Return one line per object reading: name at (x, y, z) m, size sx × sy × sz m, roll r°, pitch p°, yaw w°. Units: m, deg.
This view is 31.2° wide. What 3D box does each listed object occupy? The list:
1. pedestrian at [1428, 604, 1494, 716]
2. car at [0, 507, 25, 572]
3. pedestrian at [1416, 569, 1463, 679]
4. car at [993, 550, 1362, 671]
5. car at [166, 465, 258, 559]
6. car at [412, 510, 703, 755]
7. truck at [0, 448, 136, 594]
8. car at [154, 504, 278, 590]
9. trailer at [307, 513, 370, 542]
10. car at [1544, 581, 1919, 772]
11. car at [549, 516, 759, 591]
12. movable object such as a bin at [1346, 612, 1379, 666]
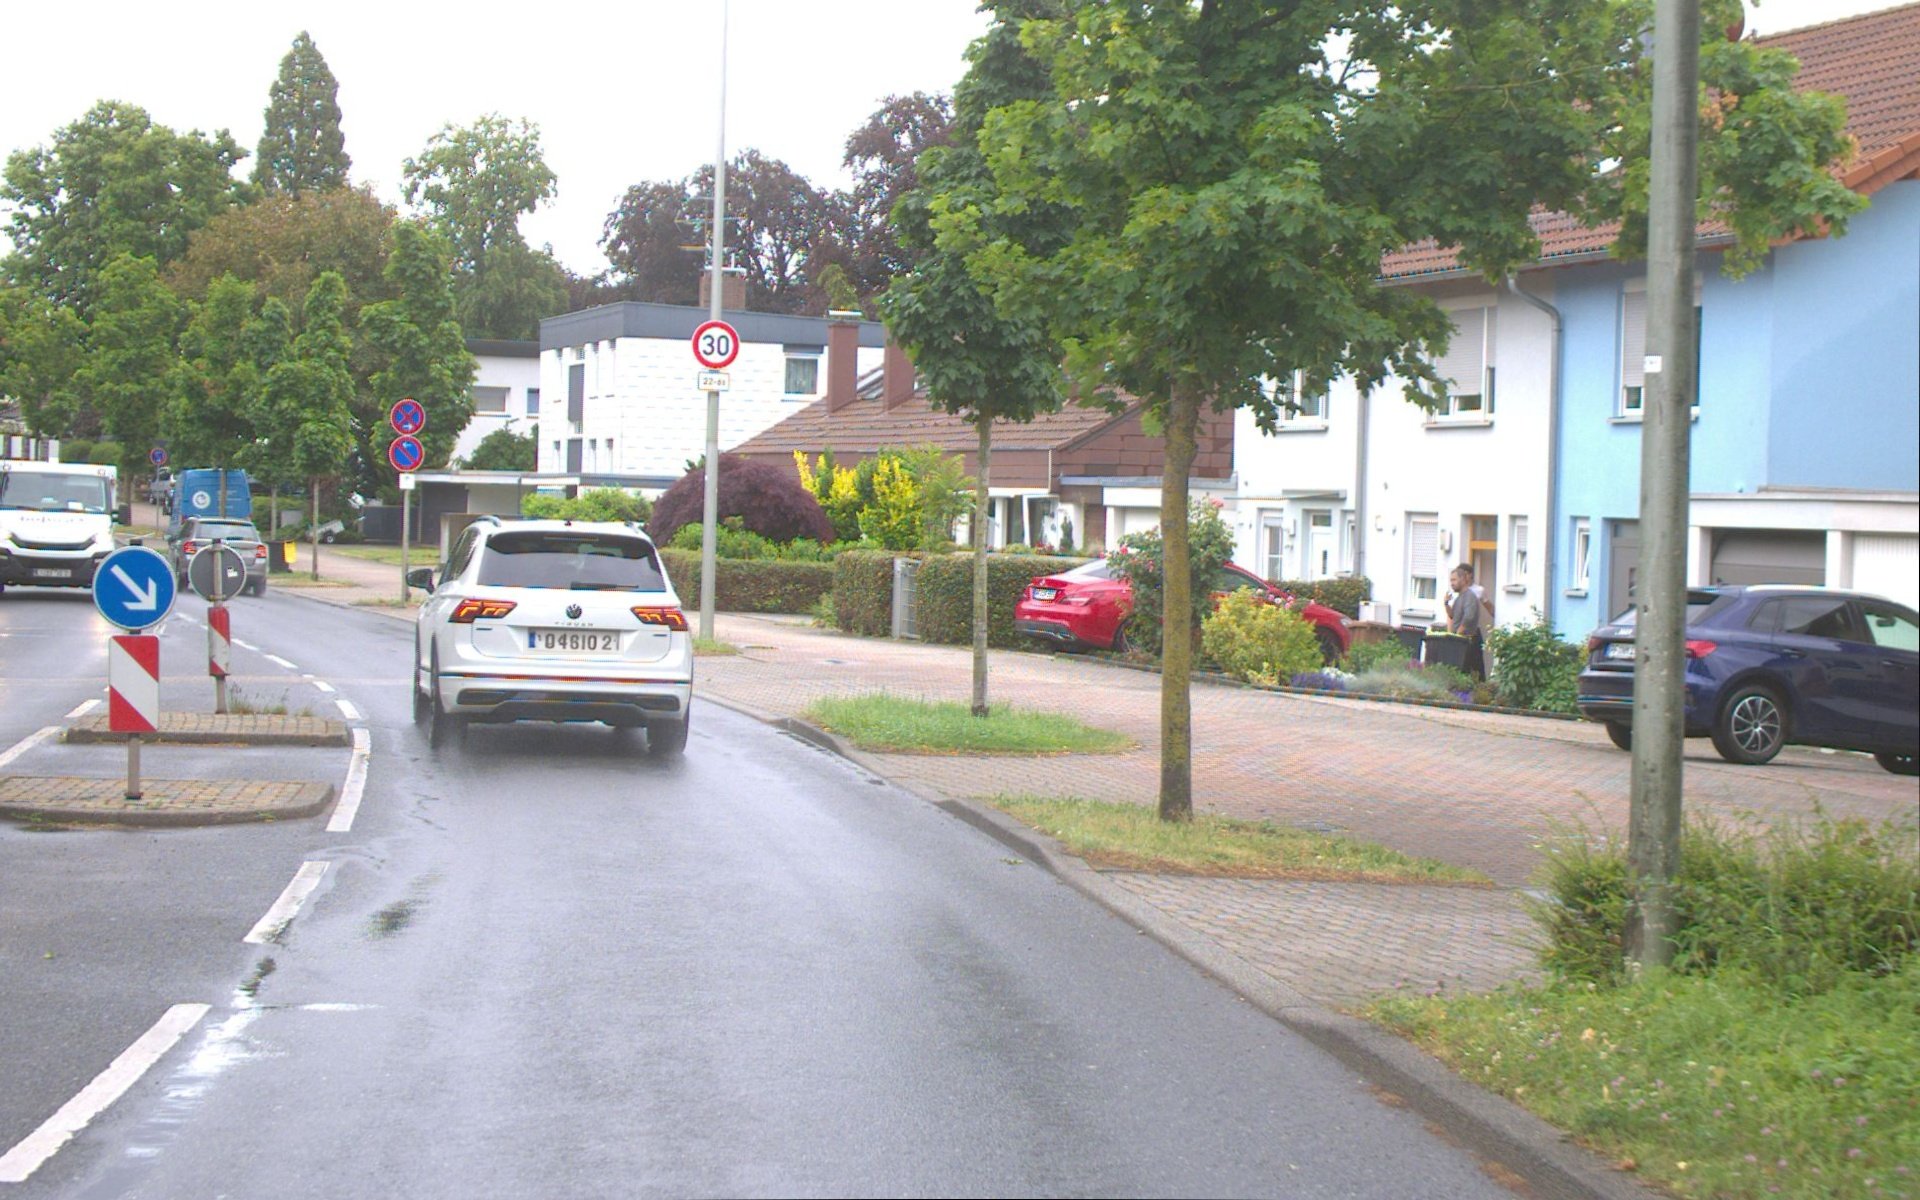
pedestrian at (6.171, 0.738, 42.323) m, size 0.535 × 1.346 × 0.529 m, roll 2°, pitch 1°, yaw -31°
car at (-22.903, -1.454, 80.558) m, size 1.593 × 1.459 × 3.454 m, roll 2°, pitch 1°, yaw -20°
pedestrian at (5.973, 0.295, 42.843) m, size 0.496 × 1.346 × 0.564 m, roll 2°, pitch 1°, yaw 5°
car at (2.746, 0.137, 43.205) m, size 4.302 × 1.256 × 1.680 m, roll 3°, pitch 1°, yaw -27°
car at (-21.044, -2.503, 96.579) m, size 1.993 × 2.578 × 5.635 m, roll 0°, pitch 2°, yaw -18°
car at (-3.069, 0.192, 25.557) m, size 1.864 × 1.645 × 4.001 m, roll 1°, pitch 1°, yaw -10°
truck at (-14.979, -1.323, 57.491) m, size 2.216 × 2.196 × 6.466 m, roll 3°, pitch 1°, yaw -13°
car at (-14.310, -1.034, 66.011) m, size 1.768 × 1.546 × 4.001 m, roll 2°, pitch 1°, yaw -20°
trailer at (-21.763, -2.528, 120.305) m, size 2.041 × 0.880 × 1.365 m, roll 3°, pitch 1°, yaw -14°
car at (6.914, 0.626, 27.720) m, size 3.986 × 1.382 × 1.675 m, roll 2°, pitch 1°, yaw -20°
car at (-6.358, -0.967, 71.315) m, size 3.986 × 1.437 × 1.848 m, roll 1°, pitch 1°, yaw -19°
movable object such as a bin at (4.828, 0.468, 41.225) m, size 0.255 × 0.624 × 0.325 m, roll 2°, pitch 1°, yaw -17°
